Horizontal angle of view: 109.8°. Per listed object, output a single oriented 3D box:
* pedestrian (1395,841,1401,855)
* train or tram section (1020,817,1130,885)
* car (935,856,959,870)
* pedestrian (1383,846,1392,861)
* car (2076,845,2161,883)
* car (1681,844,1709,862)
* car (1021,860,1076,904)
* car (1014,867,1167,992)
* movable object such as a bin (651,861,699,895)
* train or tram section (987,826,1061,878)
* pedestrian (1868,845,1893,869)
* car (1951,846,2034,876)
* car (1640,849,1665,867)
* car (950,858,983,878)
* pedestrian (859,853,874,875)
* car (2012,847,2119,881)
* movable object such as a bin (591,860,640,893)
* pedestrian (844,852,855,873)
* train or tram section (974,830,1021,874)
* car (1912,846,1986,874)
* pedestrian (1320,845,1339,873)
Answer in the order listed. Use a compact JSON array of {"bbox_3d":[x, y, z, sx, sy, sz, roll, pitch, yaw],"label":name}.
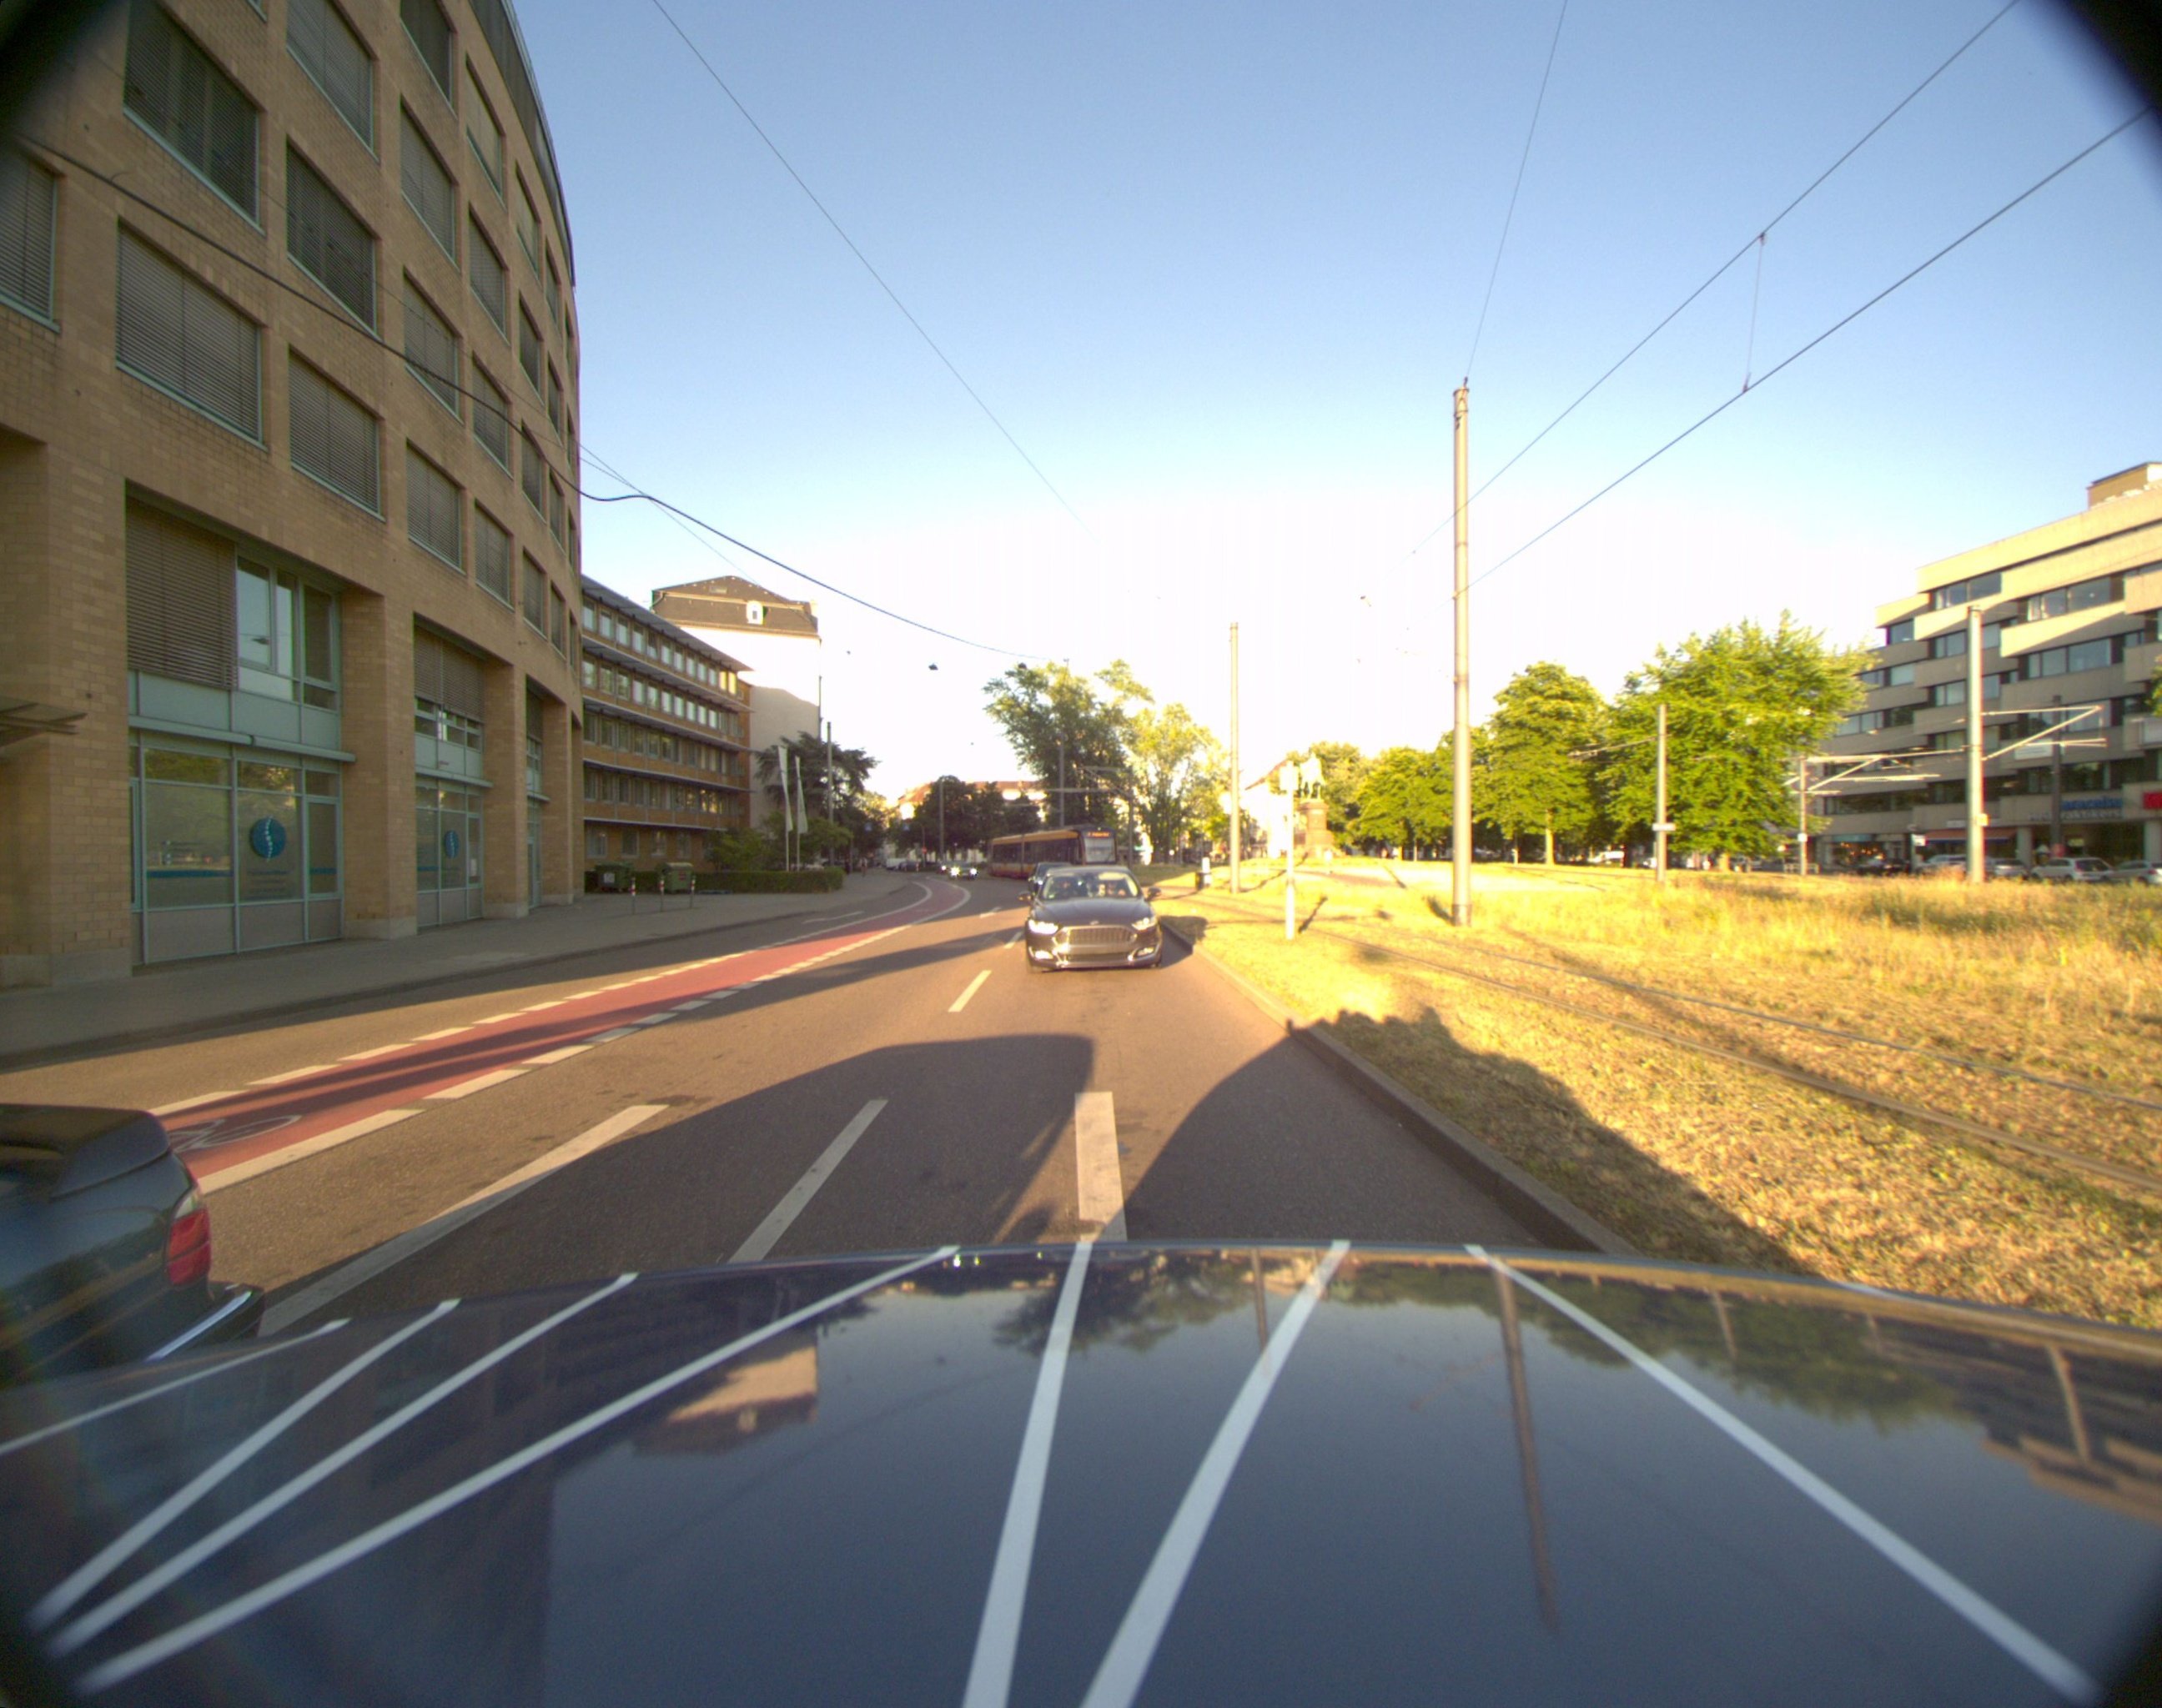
[{"bbox_3d":[36.873,-0.716,88.338,0.535,1.684,0.512,-1,1,1],"label":"pedestrian"},{"bbox_3d":[-0.803,-0.191,48.341,2.921,3.717,13.196,-1,0,-19],"label":"train or tram section"},{"bbox_3d":[-14.033,0.910,79.862,1.759,1.379,3.999,-3,0,-1],"label":"car"},{"bbox_3d":[35.819,-0.074,88.841,0.711,1.660,0.635,-1,1,1],"label":"pedestrian"},{"bbox_3d":[54.154,0.494,39.028,1.921,1.853,4.006,-1,0,23],"label":"car"},{"bbox_3d":[72.036,-0.150,89.170,1.995,2.002,4.007,-2,1,32],"label":"car"},{"bbox_3d":[-1.210,1.048,30.190,1.897,1.526,4.705,-1,0,1],"label":"car"},{"bbox_3d":[0.159,0.983,11.829,1.890,1.477,4.725,0,0,1],"label":"car"},{"bbox_3d":[-18.277,1.058,34.234,1.427,1.450,1.332,-1,0,-3],"label":"movable object such as a bin"},{"bbox_3d":[-4.788,-0.170,60.235,2.889,3.717,12.163,-1,0,-19],"label":"train or tram section"},{"bbox_3d":[66.671,0.253,63.358,1.138,2.023,0.892,-1,1,3],"label":"pedestrian"},{"bbox_3d":[58.825,0.435,49.134,1.995,1.868,4.007,0,0,27],"label":"car"},{"bbox_3d":[69.927,0.480,93.004,1.995,2.002,4.007,-2,1,32],"label":"car"},{"bbox_3d":[-8.984,1.033,59.242,2.001,1.453,4.137,-1,0,-16],"label":"car"},{"bbox_3d":[-19.246,0.900,68.164,0.913,1.883,1.123,-1,1,-34],"label":"pedestrian"},{"bbox_3d":[56.310,0.558,43.582,1.995,1.868,4.006,-1,0,22],"label":"car"},{"bbox_3d":[-21.281,1.031,34.752,1.427,1.450,1.332,-1,0,-2],"label":"movable object such as a bin"},{"bbox_3d":[-20.220,0.731,66.292,0.728,1.797,0.724,-1,1,1],"label":"pedestrian"},{"bbox_3d":[-8.035,-0.174,71.731,2.916,3.717,12.177,-1,0,-13],"label":"train or tram section"},{"bbox_3d":[61.342,0.382,53.795,1.995,1.925,4.007,-1,0,24],"label":"car"},{"bbox_3d":[15.442,0.286,47.243,0.891,1.718,0.797,-1,1,1],"label":"pedestrian"}]
